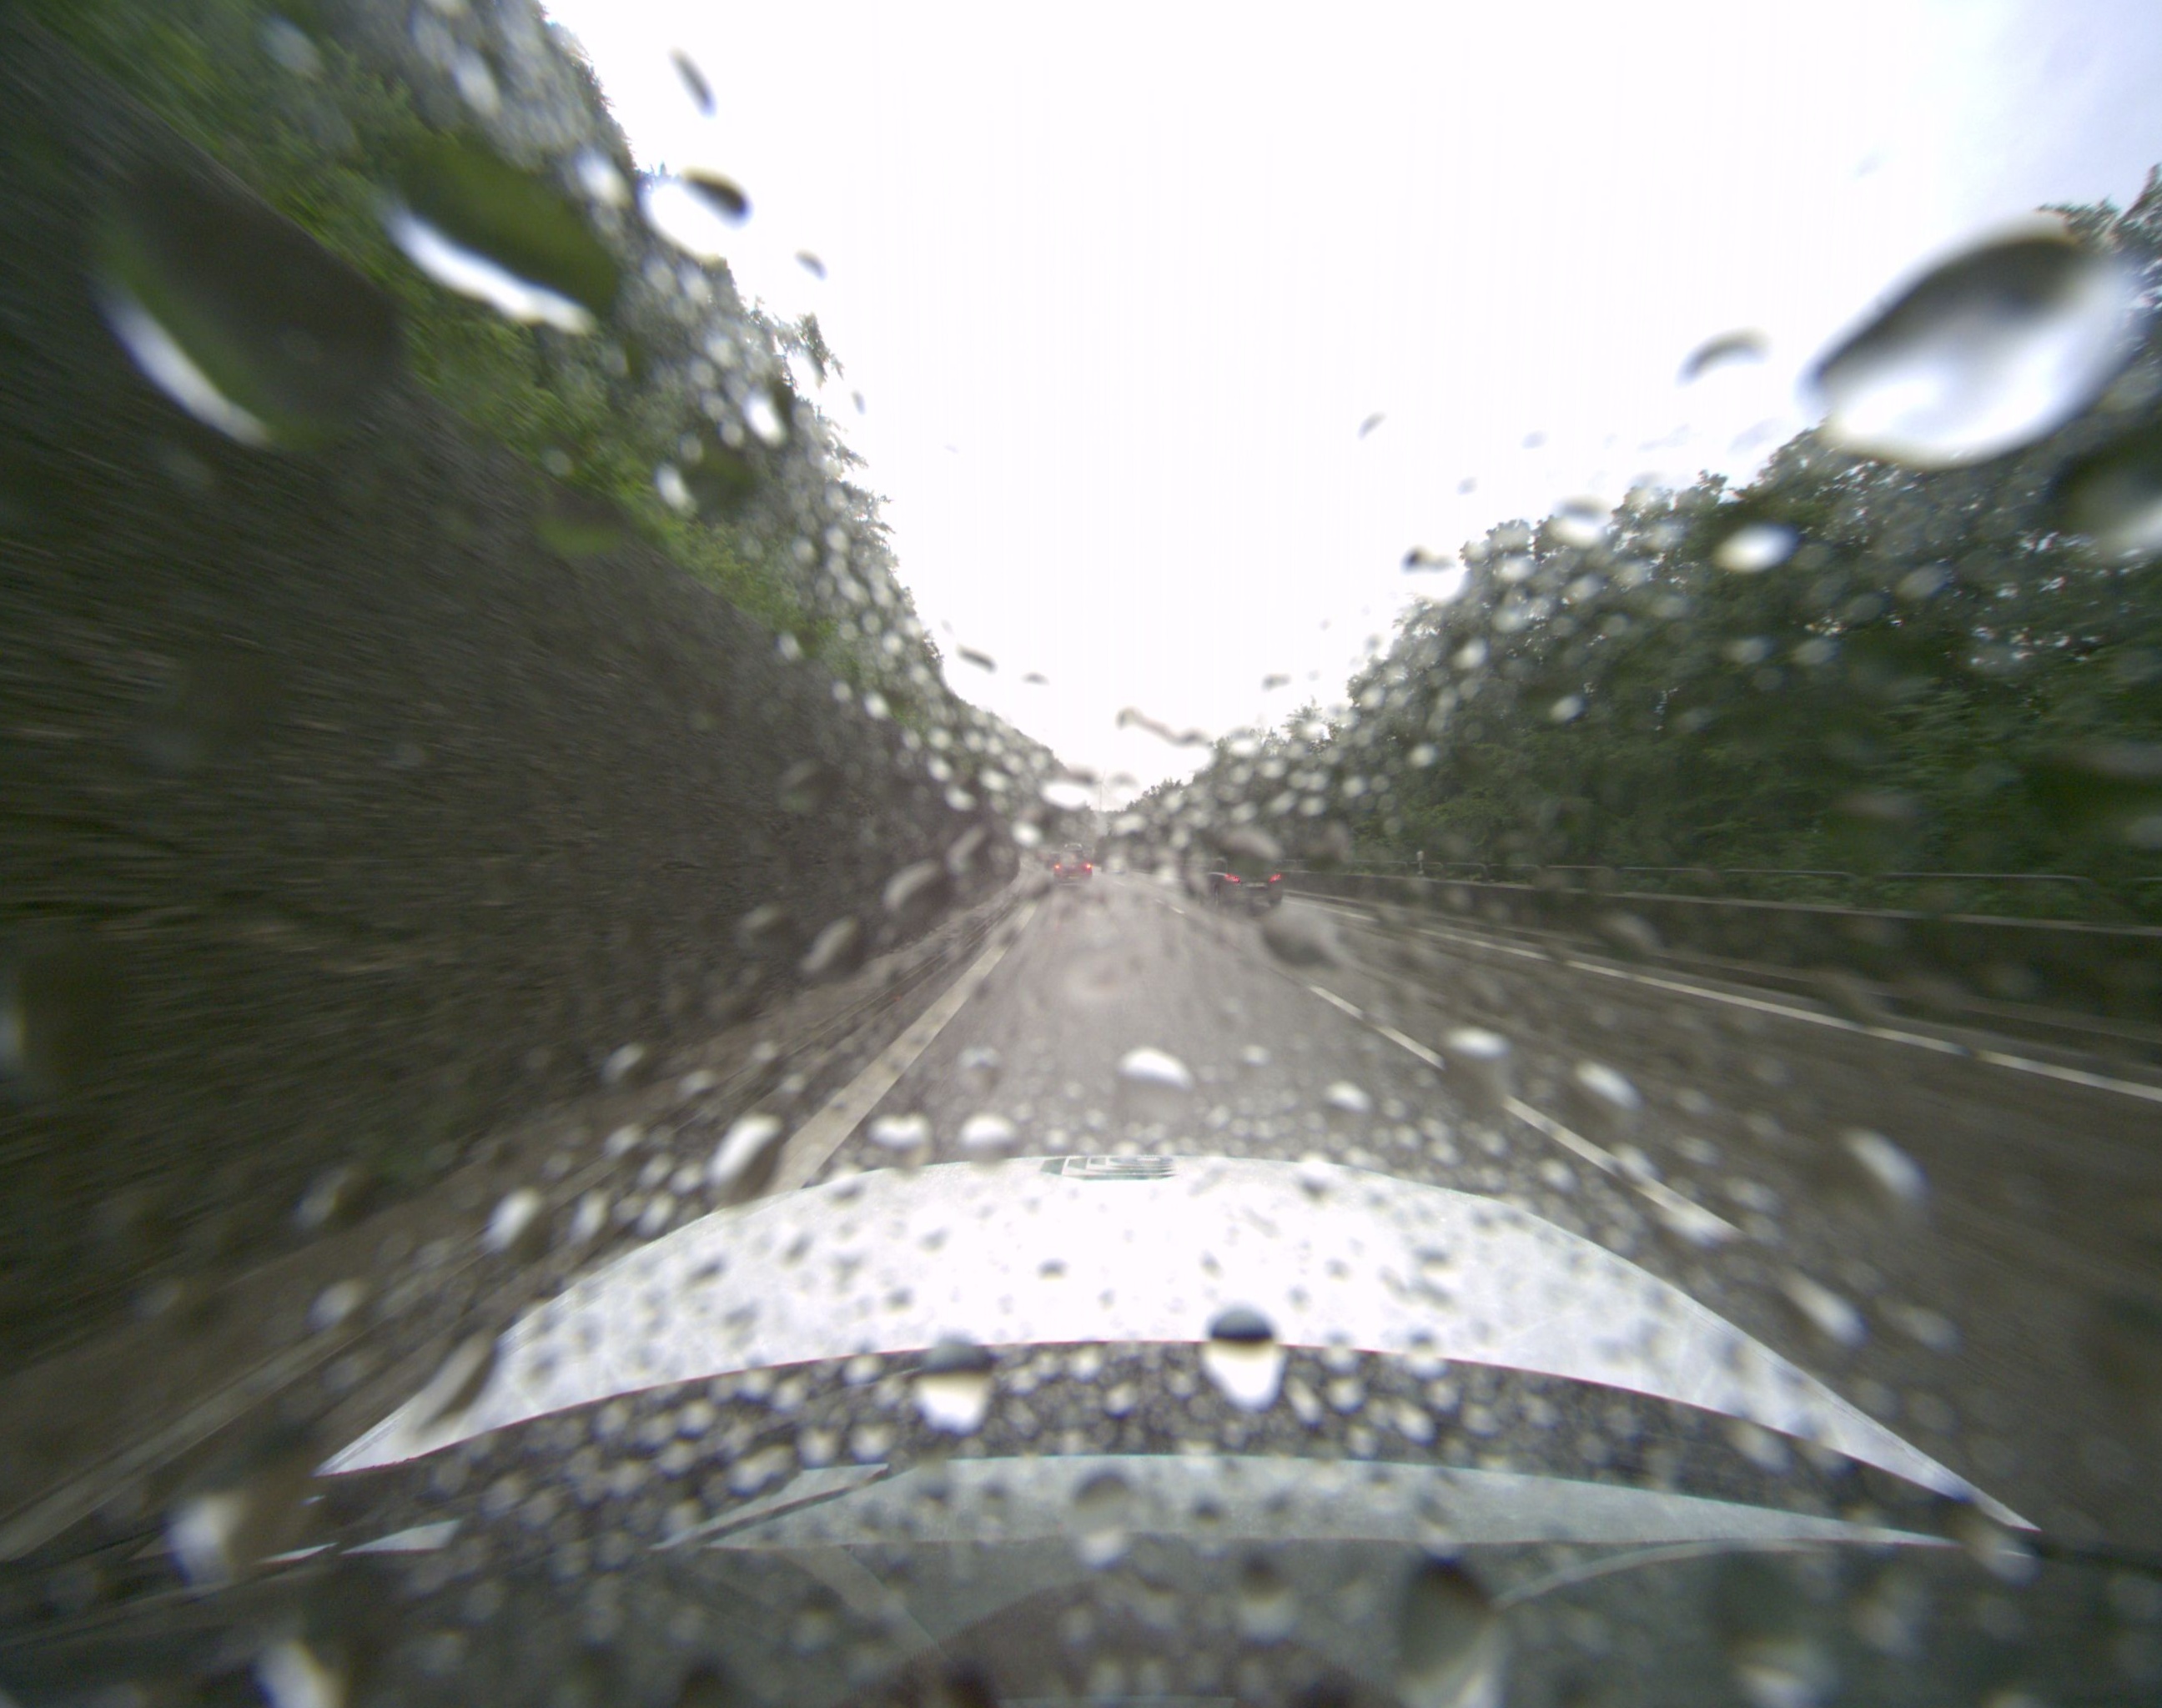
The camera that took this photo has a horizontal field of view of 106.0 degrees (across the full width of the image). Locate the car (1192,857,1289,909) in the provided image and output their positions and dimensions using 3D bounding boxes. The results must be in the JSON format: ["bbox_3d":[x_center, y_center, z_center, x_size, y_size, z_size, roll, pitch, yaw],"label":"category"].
[{"bbox_3d":[4.481,0.768,23.434,1.796,1.307,3.995,-1,0,-3],"label":"car"}]

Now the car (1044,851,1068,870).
[{"bbox_3d":[-2.196,0.599,71.513,1.988,1.684,3.996,0,-1,-2],"label":"car"}]

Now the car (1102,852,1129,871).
[{"bbox_3d":[2.837,0.612,68.059,1.988,1.552,3.997,0,0,-2],"label":"car"}]

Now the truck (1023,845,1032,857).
[{"bbox_3d":[-12.512,-0.764,189.993,1.990,2.751,5.577,0,0,-5],"label":"truck"}]

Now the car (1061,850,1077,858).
[{"bbox_3d":[-3.309,-0.016,223.532,2.463,2.013,4.693,-1,0,-28],"label":"car"}]

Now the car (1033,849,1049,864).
[{"bbox_3d":[-5.651,0.396,115.332,1.992,2.014,3.990,0,-1,-7],"label":"car"}]

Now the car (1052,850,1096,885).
[{"bbox_3d":[-0.382,0.633,38.829,1.988,1.552,3.996,-1,-1,-2],"label":"car"}]
